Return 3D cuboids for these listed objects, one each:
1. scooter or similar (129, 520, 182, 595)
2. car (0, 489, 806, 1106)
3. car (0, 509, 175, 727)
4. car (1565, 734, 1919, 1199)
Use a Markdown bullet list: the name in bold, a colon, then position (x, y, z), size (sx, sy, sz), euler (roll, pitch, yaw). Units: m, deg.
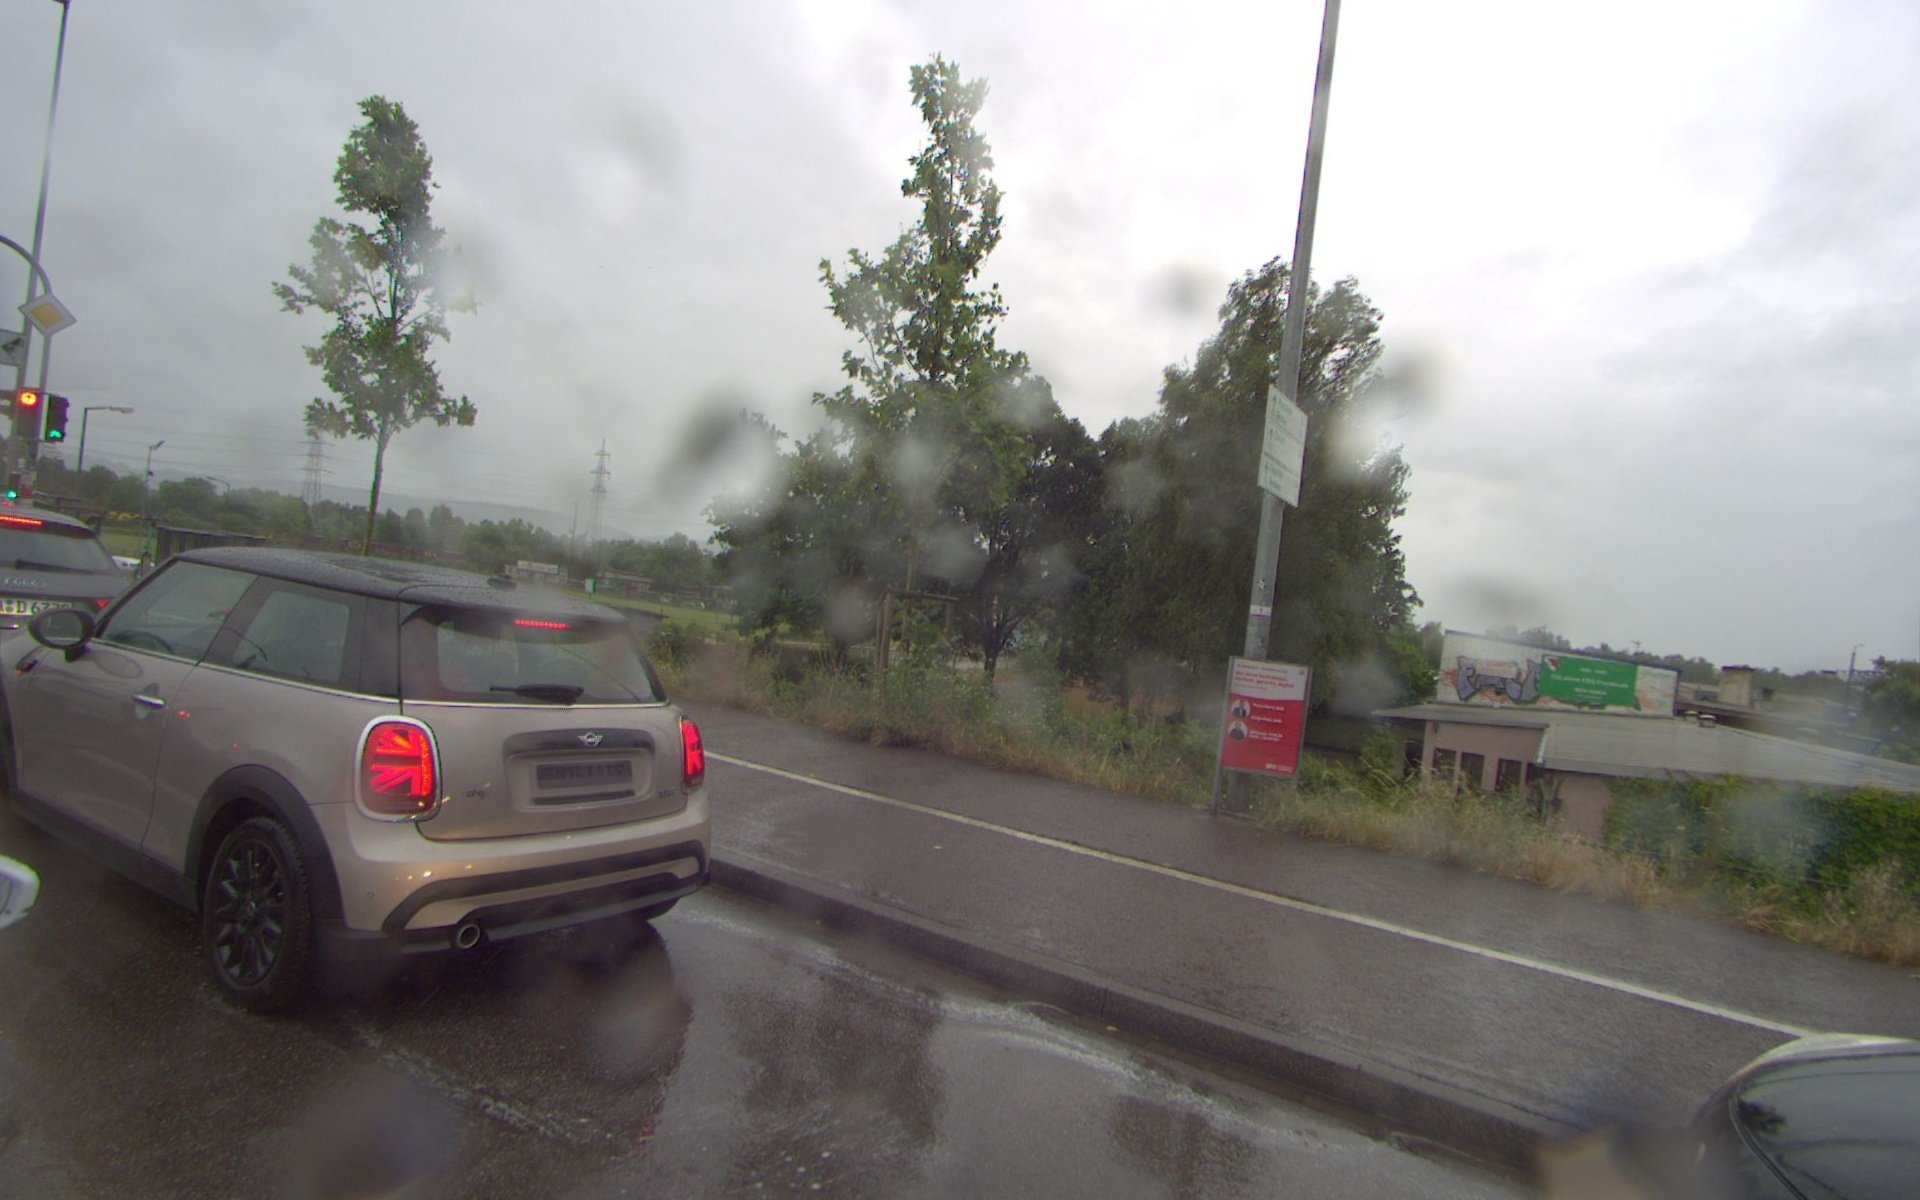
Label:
- **scooter or similar**: position (-13.619, -0.734, 17.021), size (1.167, 1.171, 0.246), euler (6, -1, 33)
- **car**: position (-2.680, 0.497, 4.345), size (3.563, 1.525, 1.717), euler (7, -2, 31)
- **car**: position (-7.492, -0.045, 7.228), size (3.563, 1.360, 1.632), euler (6, -2, 31)
- **car**: position (2.789, 1.185, 1.050), size (3.563, 1.445, 1.632), euler (7, -1, 31)
